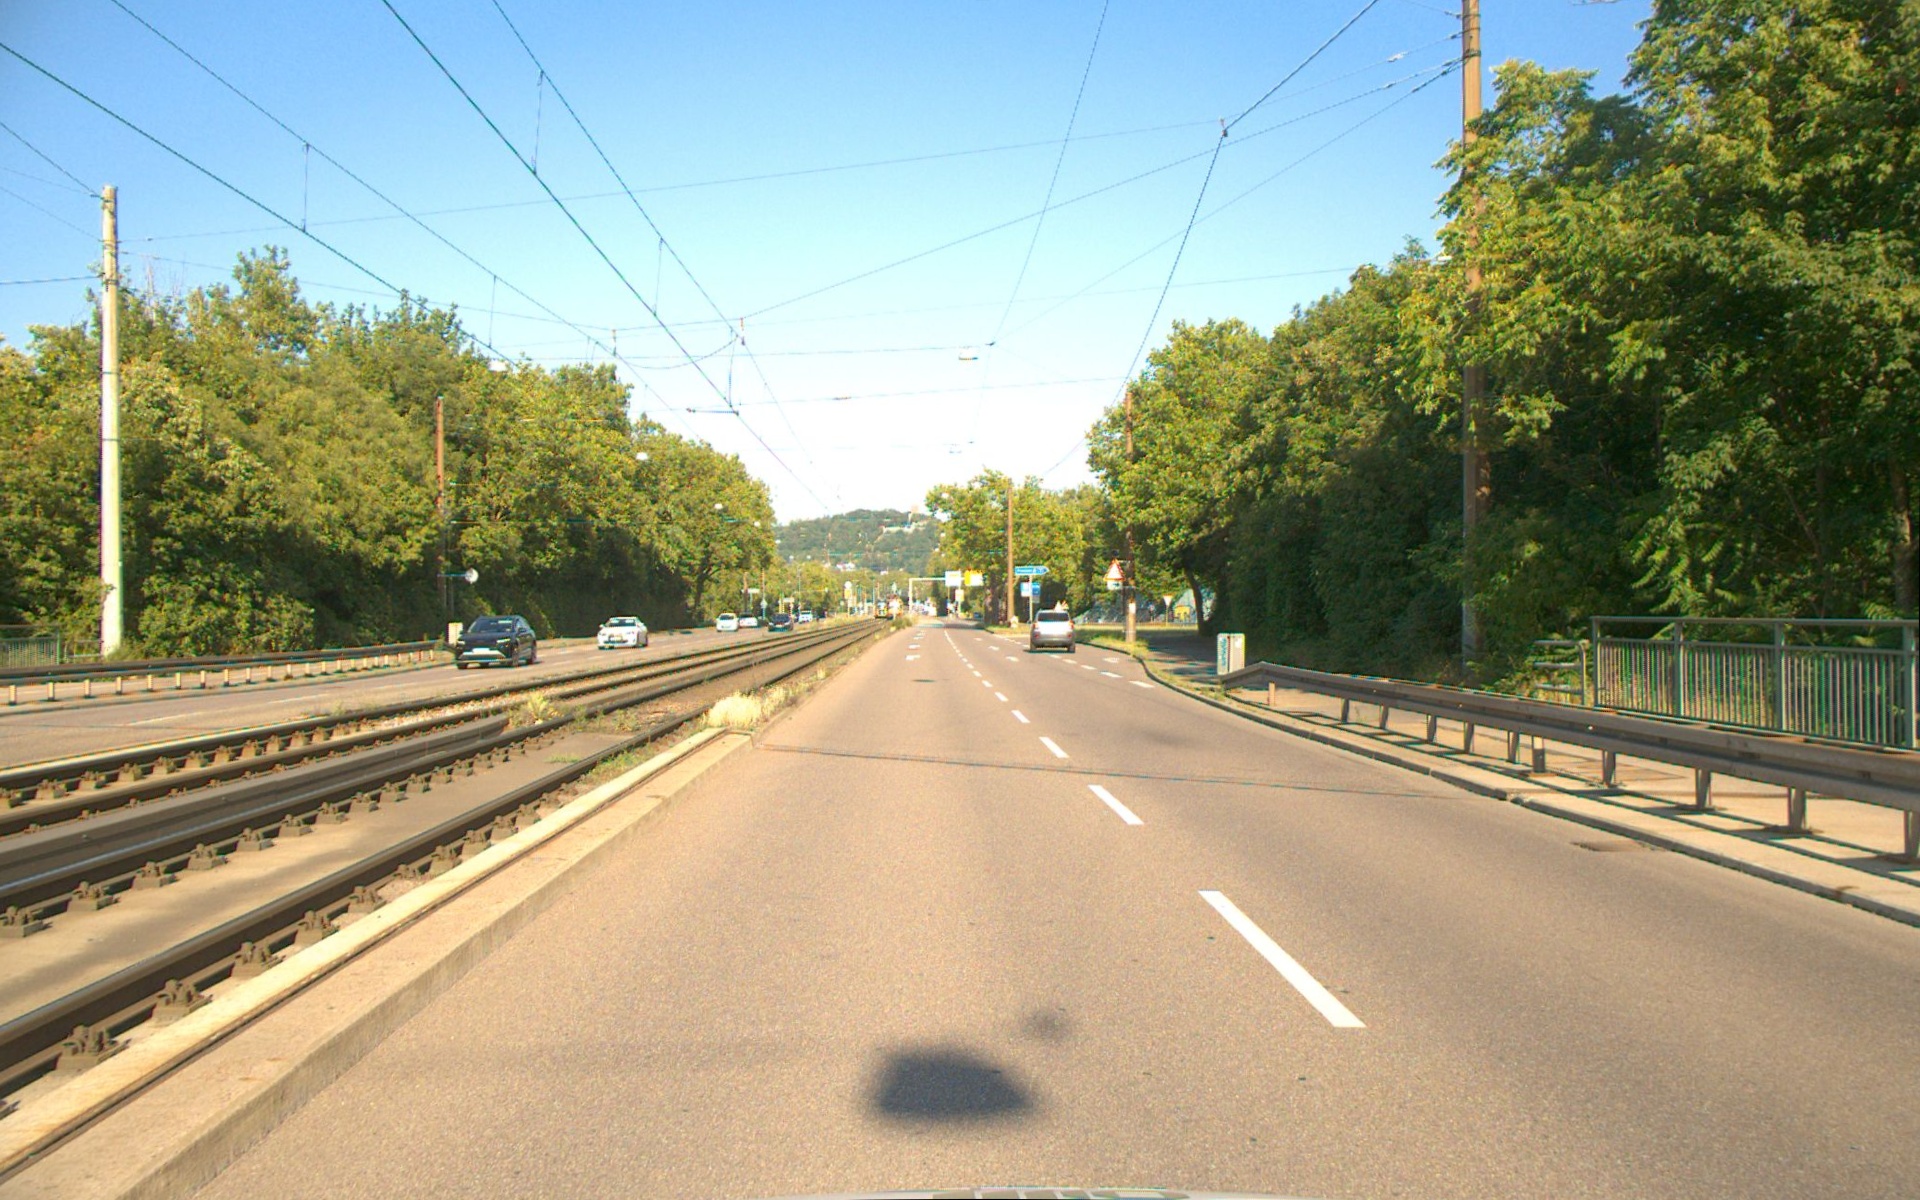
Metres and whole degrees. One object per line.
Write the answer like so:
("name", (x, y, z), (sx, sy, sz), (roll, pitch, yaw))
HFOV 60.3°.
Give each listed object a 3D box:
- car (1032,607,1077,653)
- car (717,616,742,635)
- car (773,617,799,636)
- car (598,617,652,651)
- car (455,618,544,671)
("car", (3.846, 1.222, 67.616), (1.771, 1.804, 3.863), (1, -1, 3))
("car", (-20.584, 2.285, 147.845), (1.657, 1.583, 4.190), (-2, -1, -1))
("car", (-14.230, 2.159, 135.586), (1.623, 1.458, 4.500), (-2, -1, -1))
("car", (-15.674, 1.584, 77.612), (1.720, 1.439, 4.875), (-3, -1, -3))
("car", (-14.723, 1.393, 53.124), (1.675, 1.608, 4.799), (-1, -1, -2))
